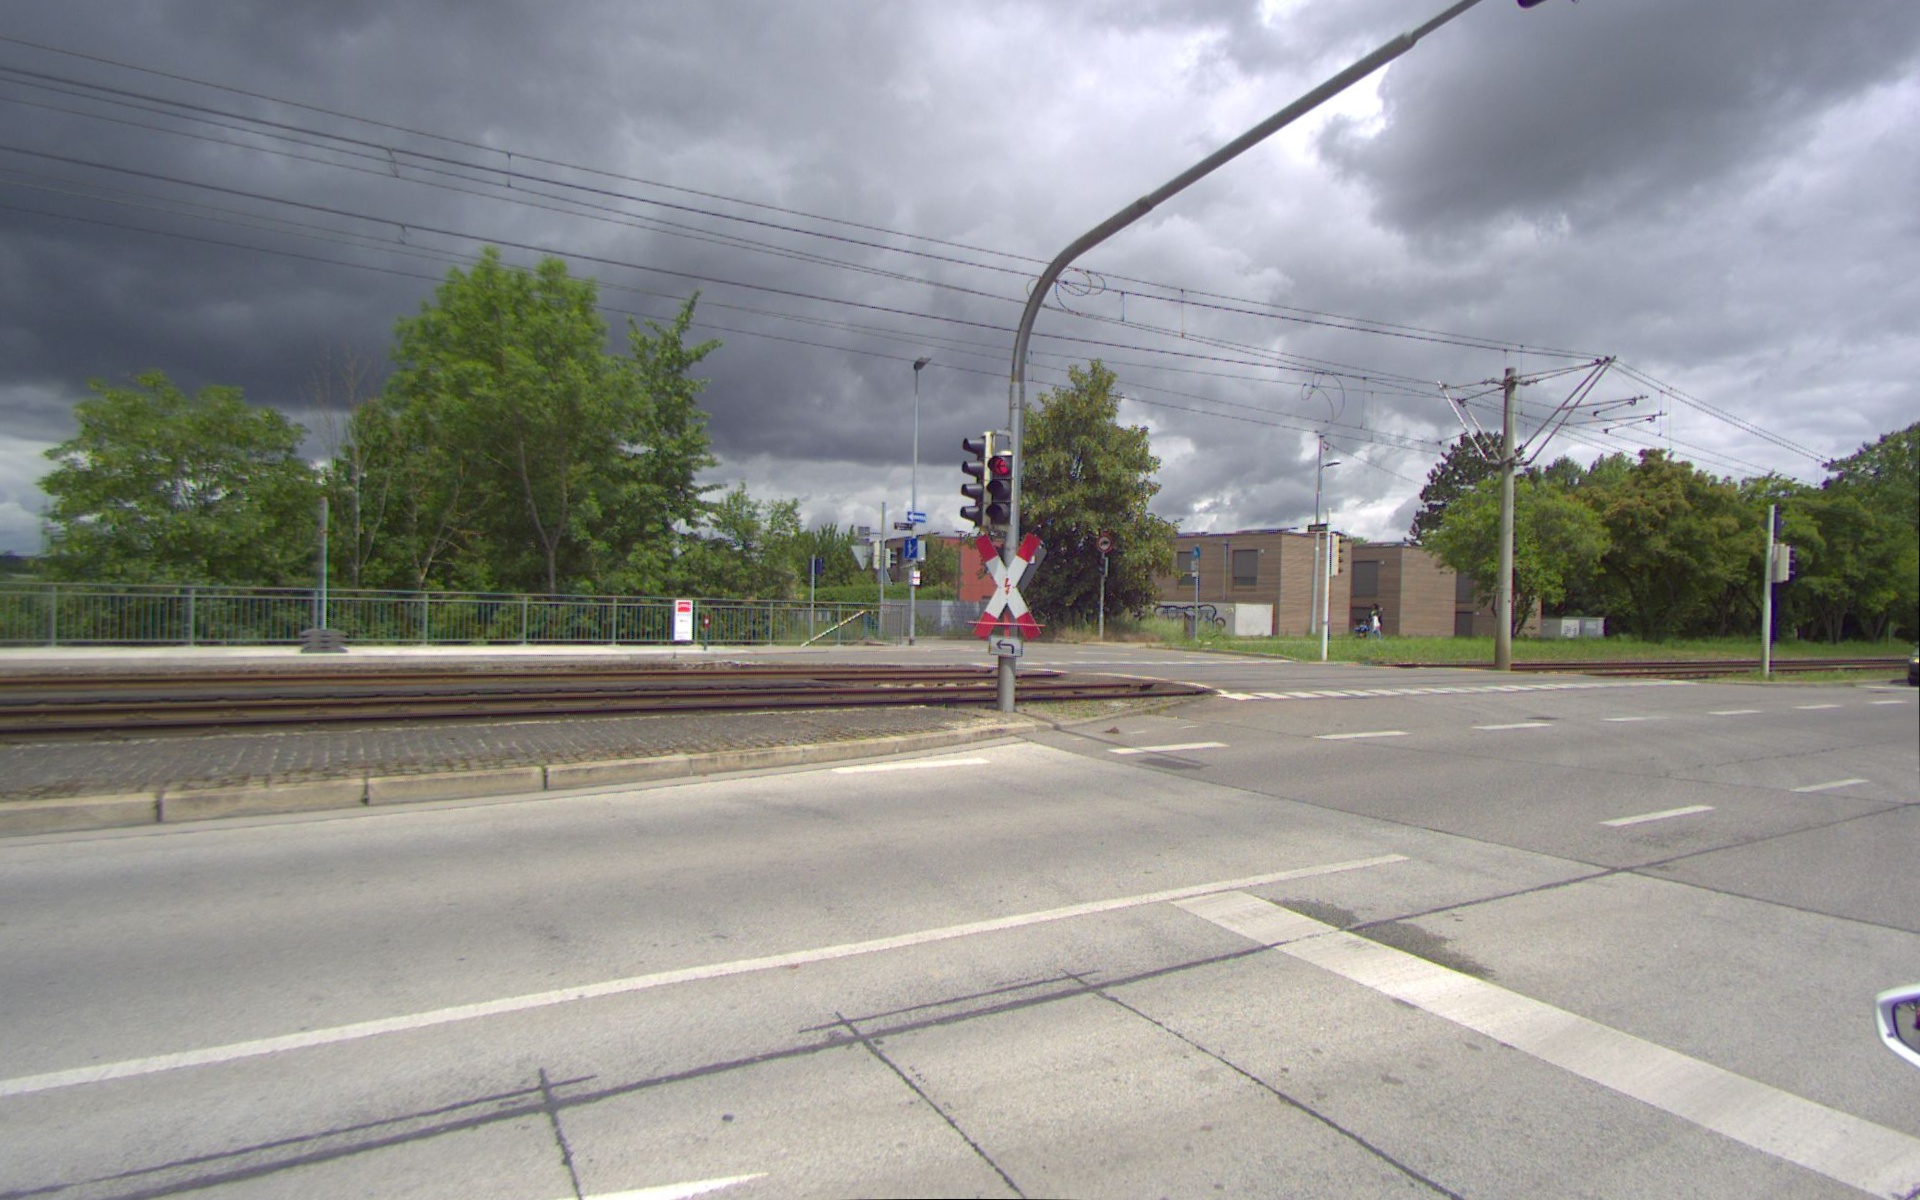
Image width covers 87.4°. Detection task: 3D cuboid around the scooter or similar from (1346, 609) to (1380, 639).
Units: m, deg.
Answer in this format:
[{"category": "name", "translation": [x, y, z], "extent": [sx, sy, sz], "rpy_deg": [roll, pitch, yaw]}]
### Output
[{"category": "scooter or similar", "translation": [16.981, 0.997, 42.356], "extent": [0.961, 1.200, 0.886], "rpy_deg": [1, 2, -29]}]

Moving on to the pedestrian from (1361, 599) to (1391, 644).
[{"category": "pedestrian", "translation": [17.689, 0.915, 42.701], "extent": [0.798, 1.836, 0.798], "rpy_deg": [1, 2, -28]}]

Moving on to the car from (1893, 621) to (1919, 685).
[{"category": "car", "translation": [26.379, 1.414, 26.351], "extent": [4.298, 1.590, 1.773], "rpy_deg": [2, 0, -33]}]
